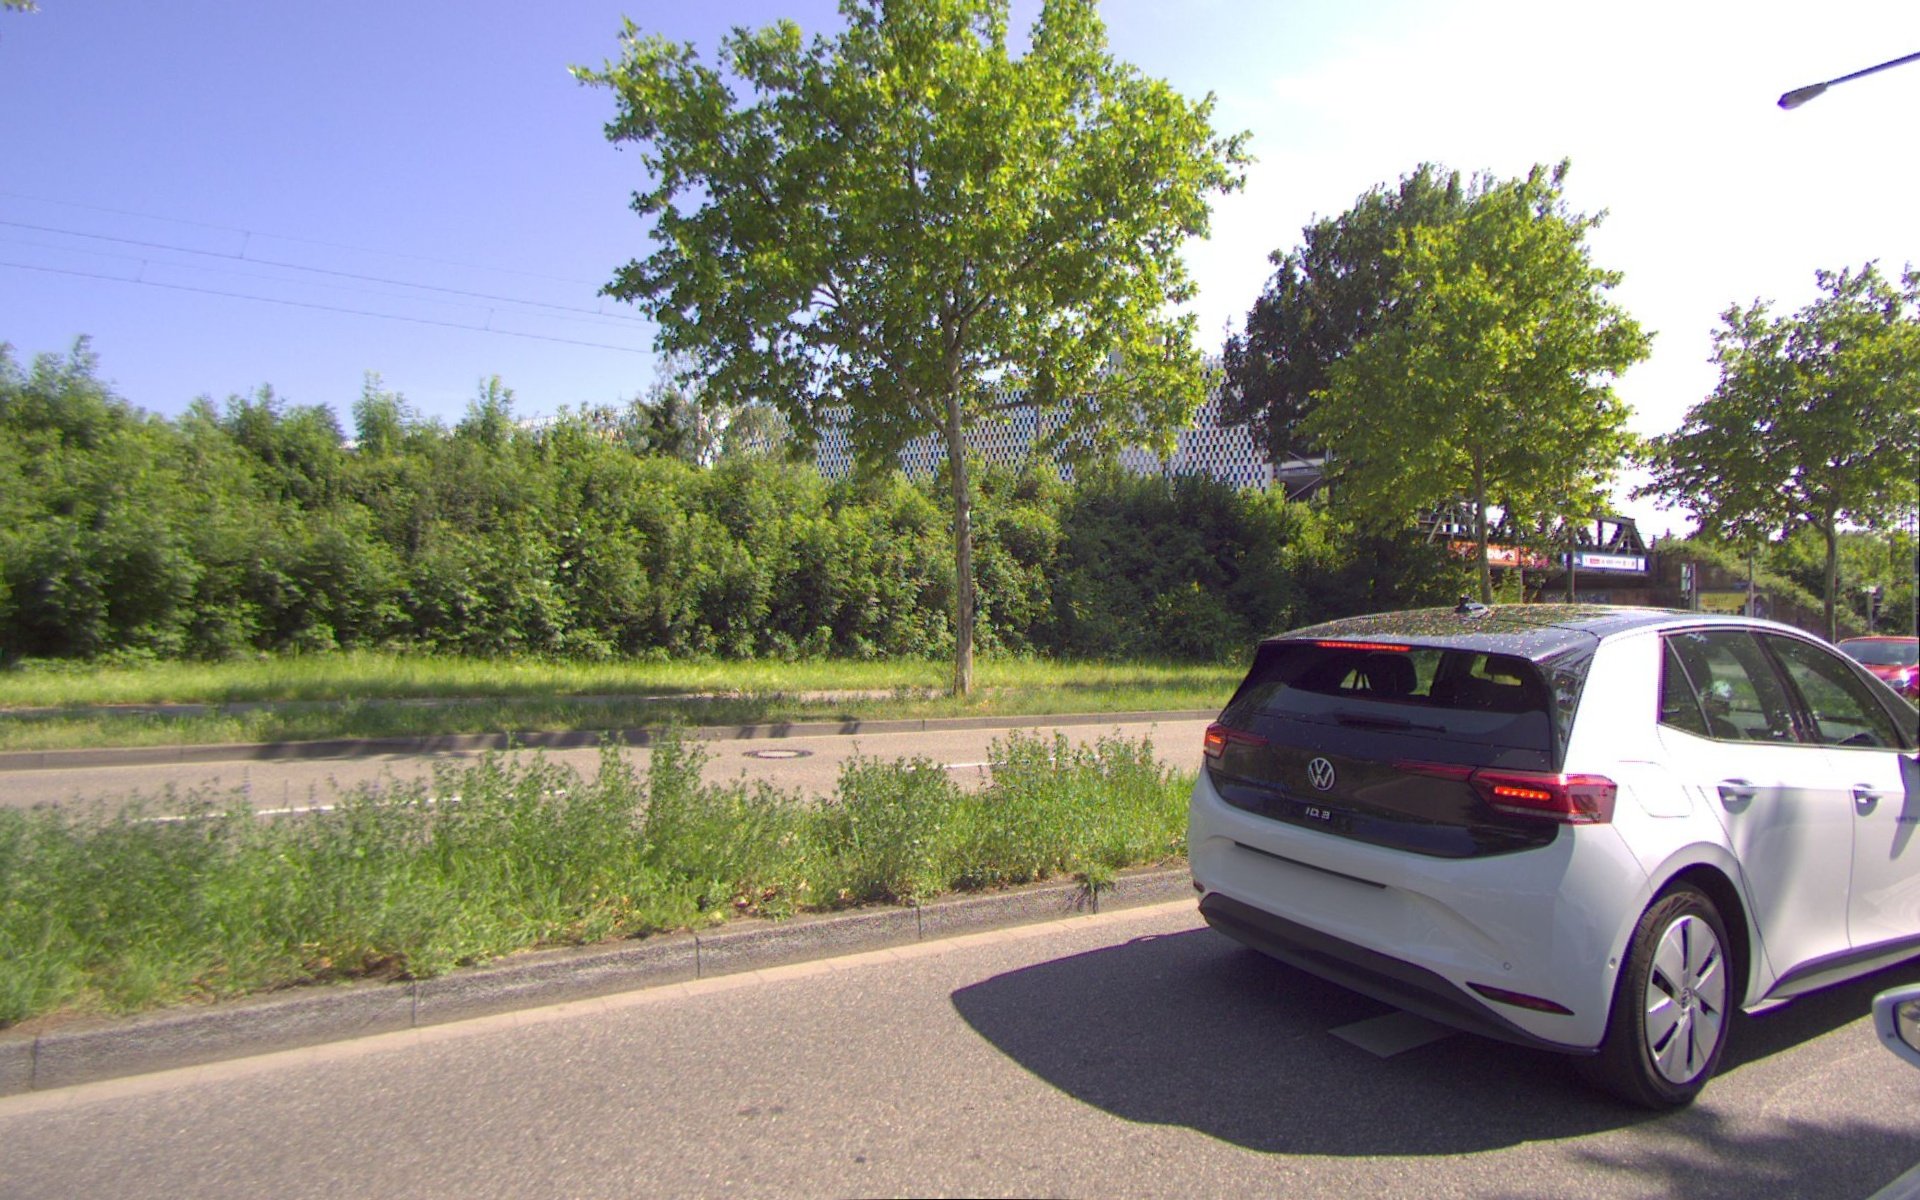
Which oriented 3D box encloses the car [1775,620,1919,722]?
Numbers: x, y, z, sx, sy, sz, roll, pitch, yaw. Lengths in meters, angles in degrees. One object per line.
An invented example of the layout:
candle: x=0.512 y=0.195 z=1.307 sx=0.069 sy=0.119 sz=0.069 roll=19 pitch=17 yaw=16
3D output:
car: x=16.564 y=1.208 z=18.077 sx=4.132 sy=1.604 sz=1.842 roll=2 pitch=-1 yaw=-34

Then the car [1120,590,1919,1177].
car: x=2.924 y=0.794 z=4.477 sx=4.158 sy=1.541 sz=1.811 roll=2 pitch=-1 yaw=-30

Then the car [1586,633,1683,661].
car: x=36.686 y=2.549 z=54.750 sx=4.251 sy=1.445 sz=1.485 roll=0 pitch=-2 yaw=27

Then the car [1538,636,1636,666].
car: x=30.583 y=2.459 z=49.106 sx=3.927 sy=1.363 sz=1.880 roll=0 pitch=-2 yaw=28

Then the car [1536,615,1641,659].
car: x=37.381 y=2.142 z=59.893 sx=5.043 sy=2.450 sz=1.998 roll=1 pitch=-1 yaw=26
